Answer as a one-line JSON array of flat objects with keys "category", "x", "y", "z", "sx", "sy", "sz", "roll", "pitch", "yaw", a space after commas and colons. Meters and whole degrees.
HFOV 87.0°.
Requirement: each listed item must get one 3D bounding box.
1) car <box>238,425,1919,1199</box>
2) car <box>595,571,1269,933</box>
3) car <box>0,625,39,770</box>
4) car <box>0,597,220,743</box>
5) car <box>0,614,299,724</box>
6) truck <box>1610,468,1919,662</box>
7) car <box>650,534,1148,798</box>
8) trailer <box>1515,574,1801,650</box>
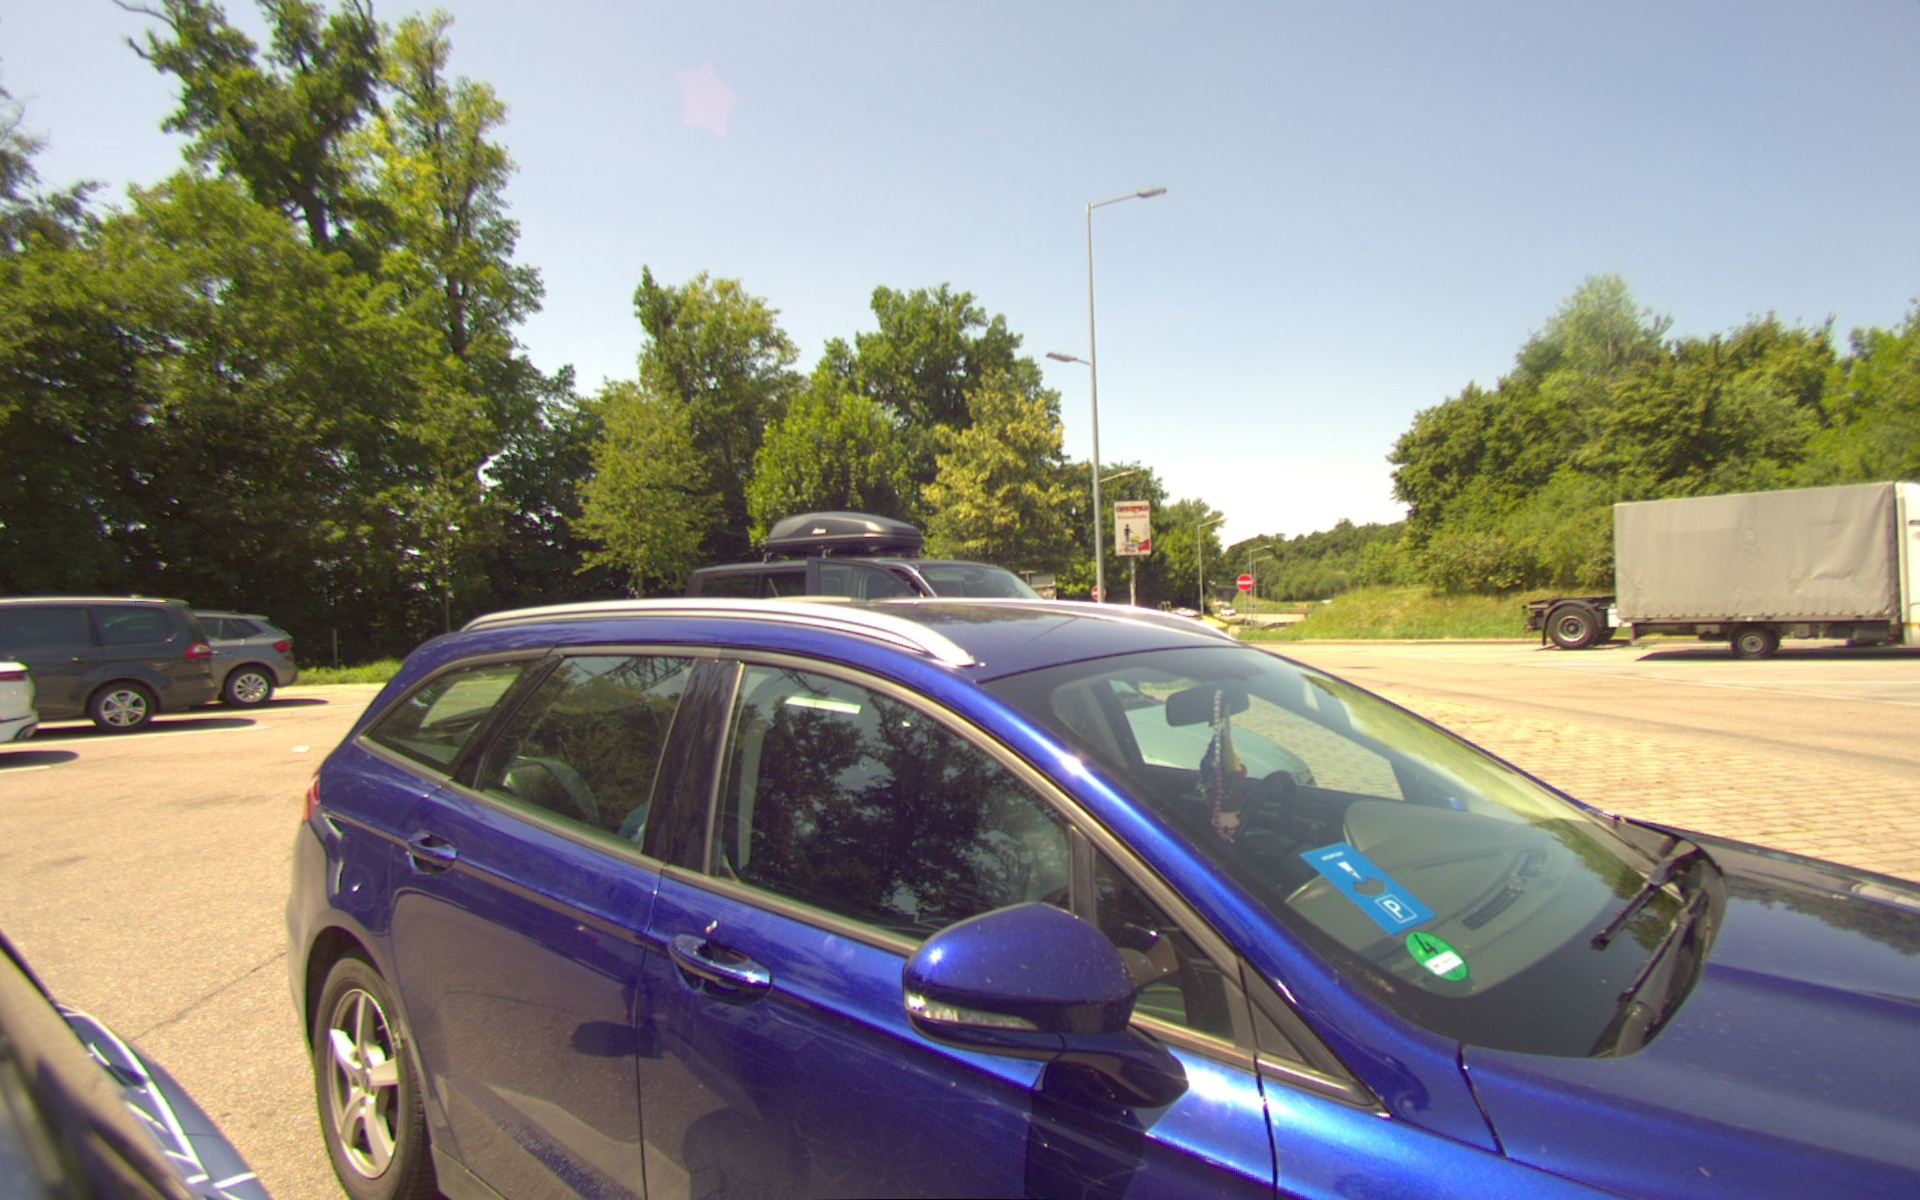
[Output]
[{"category": "car", "x": 0.243, "y": 0.653, "z": 2.084, "sx": 4.427, "sy": 1.455, "sz": 1.763, "roll": -2, "pitch": -1, "yaw": 40}, {"category": "car", "x": -0.361, "y": 0.652, "z": 5.806, "sx": 3.739, "sy": 1.424, "sz": 1.587, "roll": -2, "pitch": -1, "yaw": 40}, {"category": "car", "x": -10.957, "y": 0.948, "z": 9.197, "sx": 3.753, "sy": 1.377, "sz": 1.804, "roll": 0, "pitch": -1, "yaw": -45}, {"category": "car", "x": -11.711, "y": 0.840, "z": 12.586, "sx": 3.830, "sy": 1.703, "sz": 1.883, "roll": 0, "pitch": -2, "yaw": -45}, {"category": "car", "x": -12.607, "y": 0.976, "z": 15.625, "sx": 3.753, "sy": 1.488, "sz": 1.743, "roll": 0, "pitch": -1, "yaw": -45}, {"category": "truck", "x": 16.713, "y": -0.621, "z": 18.846, "sx": 7.308, "sy": 3.258, "sz": 2.294, "roll": -5, "pitch": -2, "yaw": 43}, {"category": "car", "x": -0.729, "y": 0.535, "z": 9.417, "sx": 4.426, "sy": 1.875, "sz": 2.022, "roll": -2, "pitch": -1, "yaw": 40}, {"category": "trailer", "x": 16.333, "y": 0.343, "z": 23.919, "sx": 5.393, "sy": 1.608, "sz": 1.576, "roll": -2, "pitch": -1, "yaw": 41}]
